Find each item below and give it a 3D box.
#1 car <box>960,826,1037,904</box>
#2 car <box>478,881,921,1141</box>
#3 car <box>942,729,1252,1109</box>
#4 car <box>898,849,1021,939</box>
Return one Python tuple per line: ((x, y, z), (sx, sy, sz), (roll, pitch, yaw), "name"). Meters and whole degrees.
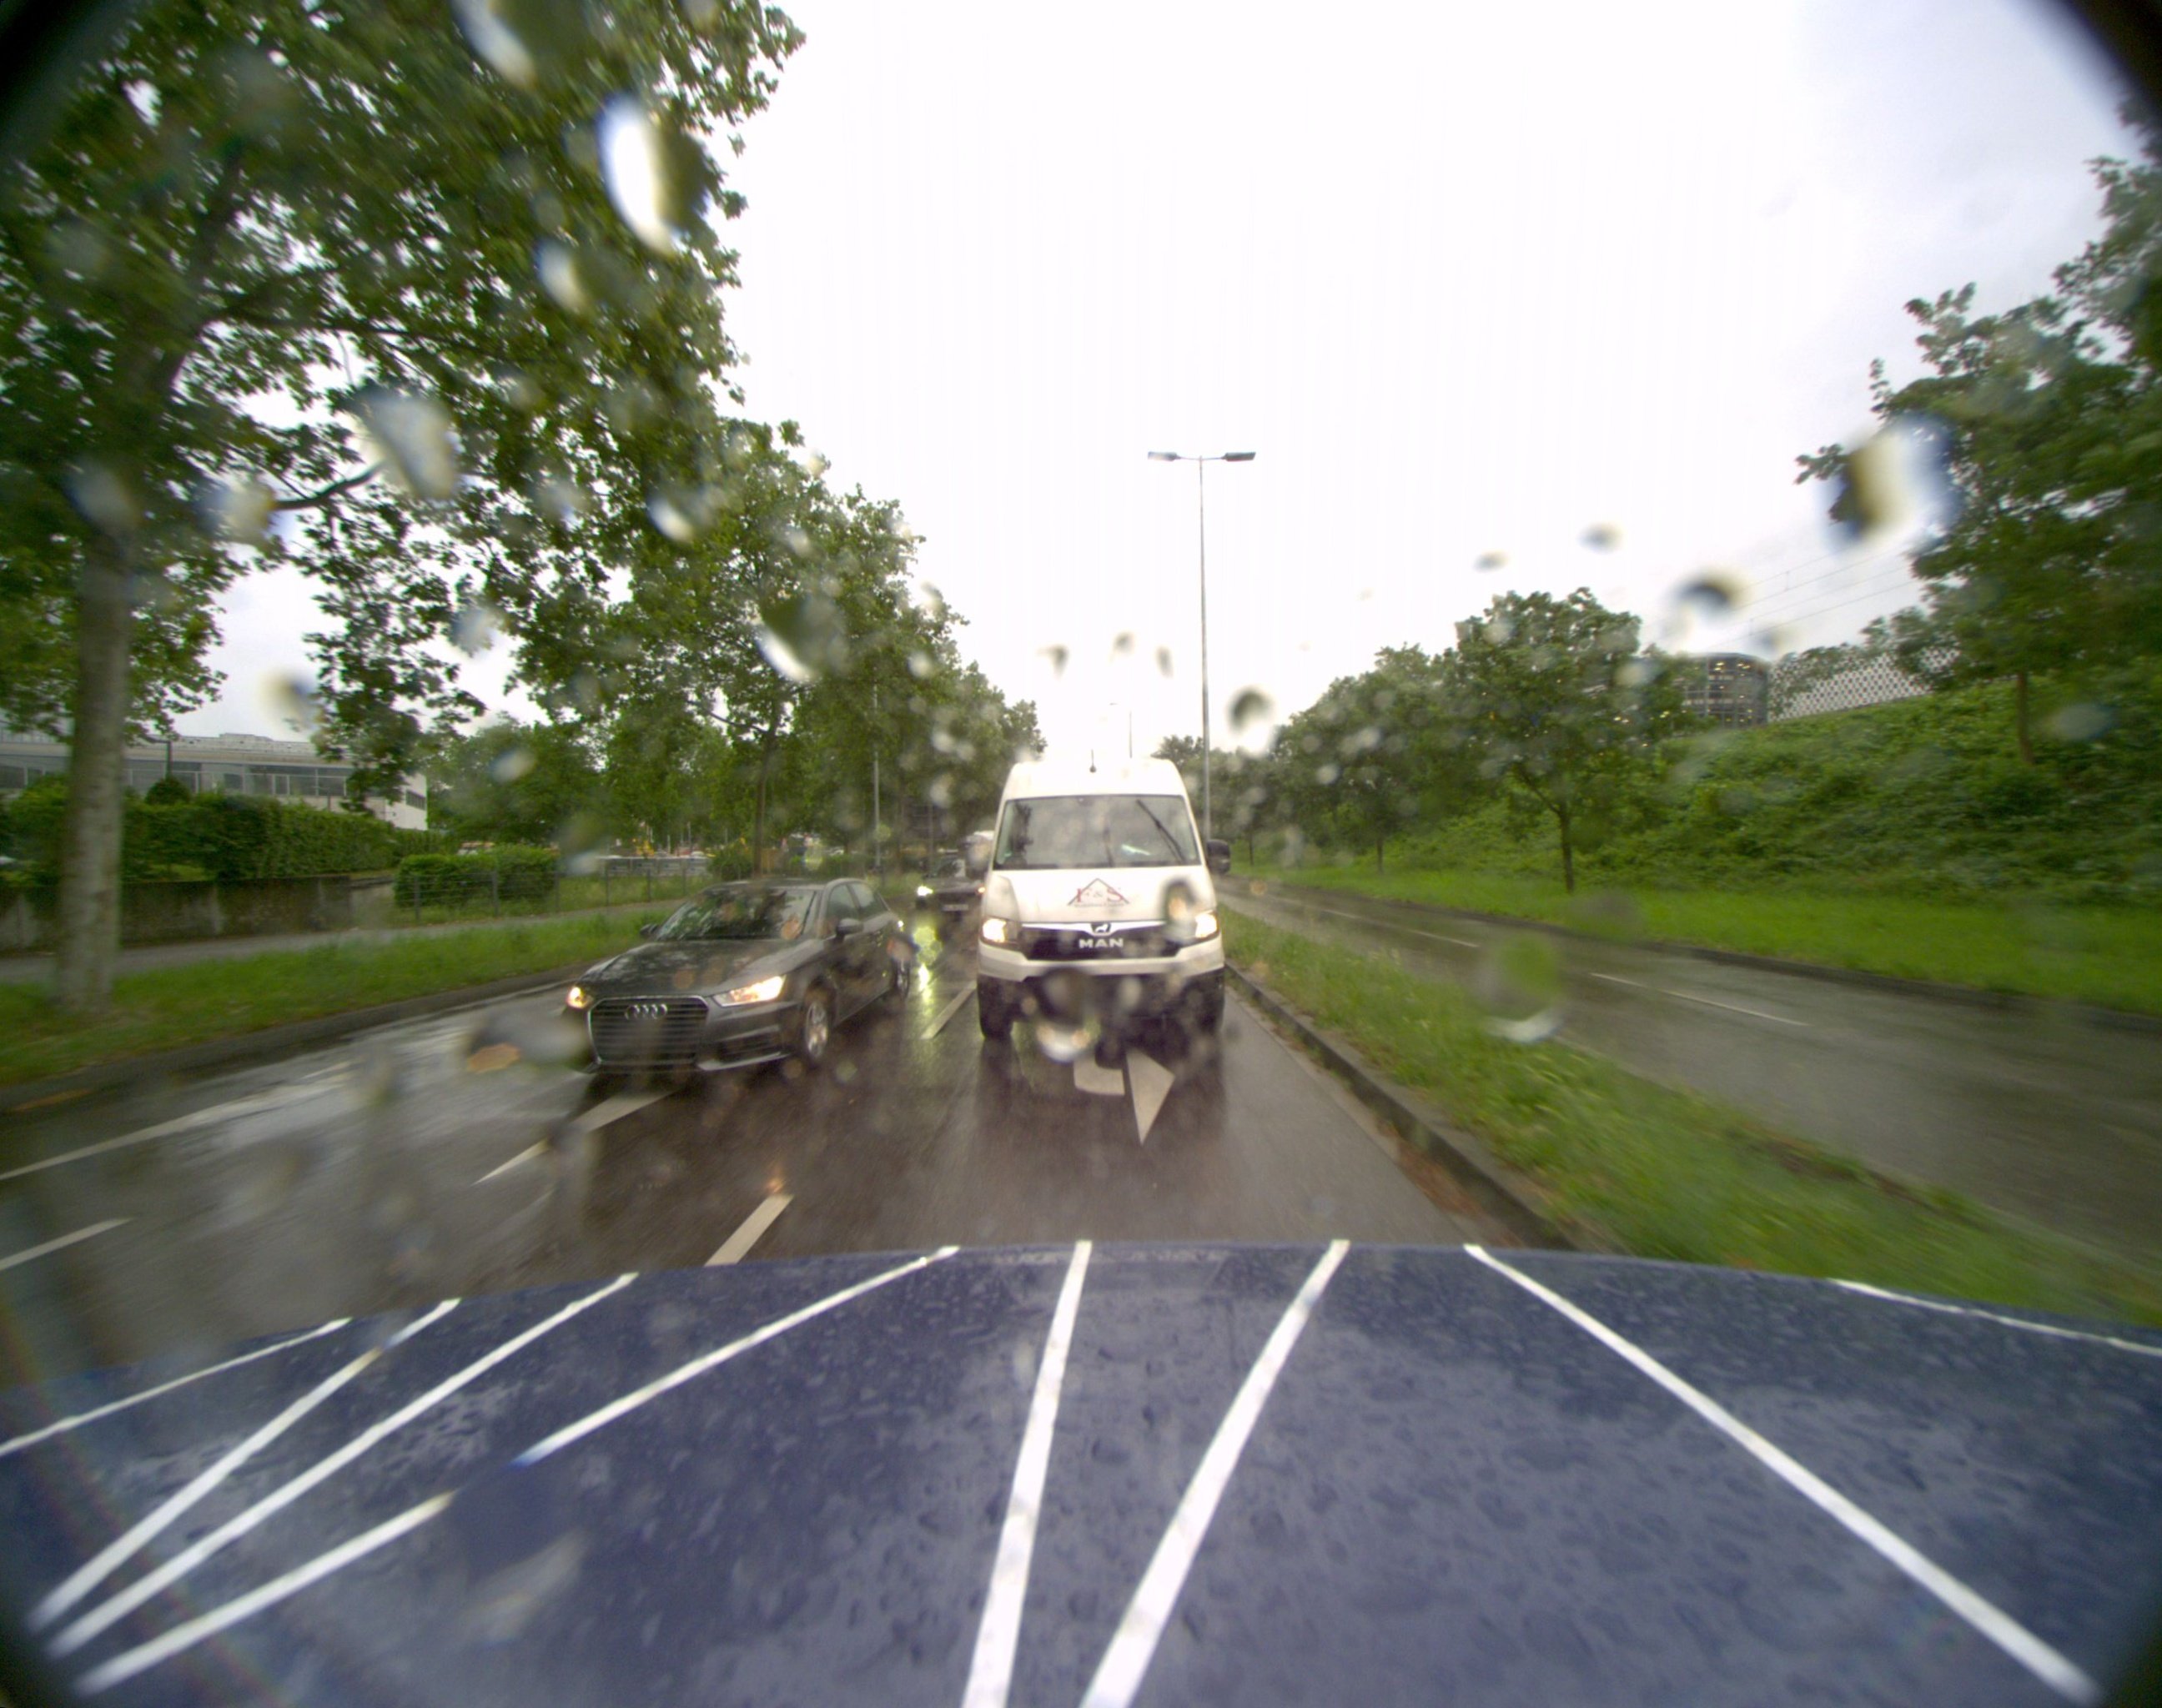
((-2.708, 0.317, 26.081), (1.998, 2.416, 4.977), (0, 1, 1), "car")
((-2.755, 1.043, 6.574), (1.841, 1.390, 3.753), (-2, 1, 1), "car")
((0.097, 0.391, 7.834), (1.969, 2.419, 5.960), (0, 1, 0), "car")
((-2.560, 0.775, 17.130), (1.998, 1.738, 4.327), (0, 1, 1), "car")
